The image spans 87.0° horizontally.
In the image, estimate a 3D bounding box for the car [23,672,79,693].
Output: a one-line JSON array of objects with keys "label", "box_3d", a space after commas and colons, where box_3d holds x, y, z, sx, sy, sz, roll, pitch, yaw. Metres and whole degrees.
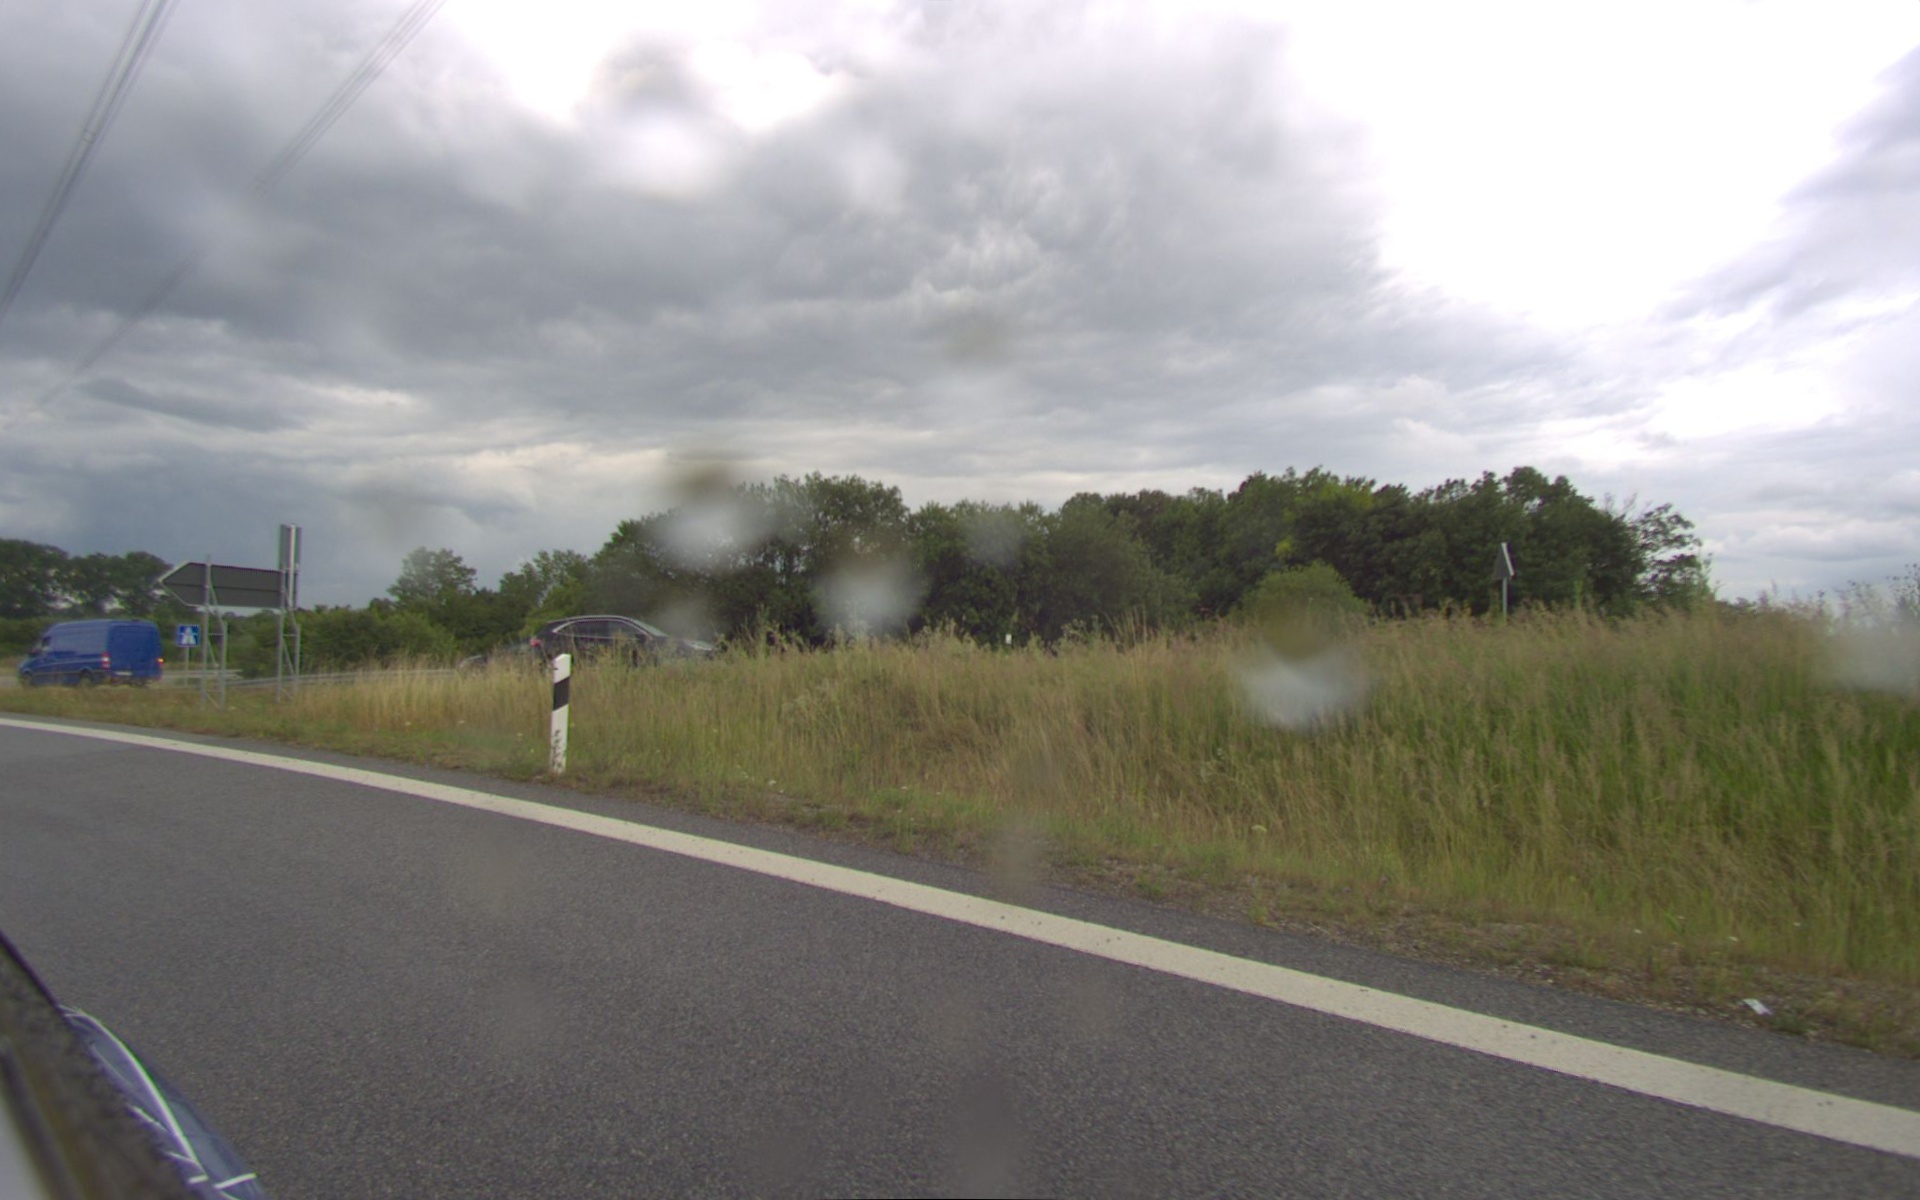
[{"label": "car", "box_3d": [-67.520, 6.130, 75.208, 1.712, 1.449, 3.784, 3, -5, -19]}]

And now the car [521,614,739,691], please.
[{"label": "car", "box_3d": [-7.736, 1.254, 24.078, 4.531, 1.733, 1.999, 0, -3, 1]}]

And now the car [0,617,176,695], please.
[{"label": "car", "box_3d": [-32.841, 2.098, 37.955, 6.232, 2.747, 2.319, -1, -3, 19]}]

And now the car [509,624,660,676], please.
[{"label": "car", "box_3d": [-10.364, 1.364, 28.109, 3.659, 1.360, 1.481, 0, -1, -4]}]
